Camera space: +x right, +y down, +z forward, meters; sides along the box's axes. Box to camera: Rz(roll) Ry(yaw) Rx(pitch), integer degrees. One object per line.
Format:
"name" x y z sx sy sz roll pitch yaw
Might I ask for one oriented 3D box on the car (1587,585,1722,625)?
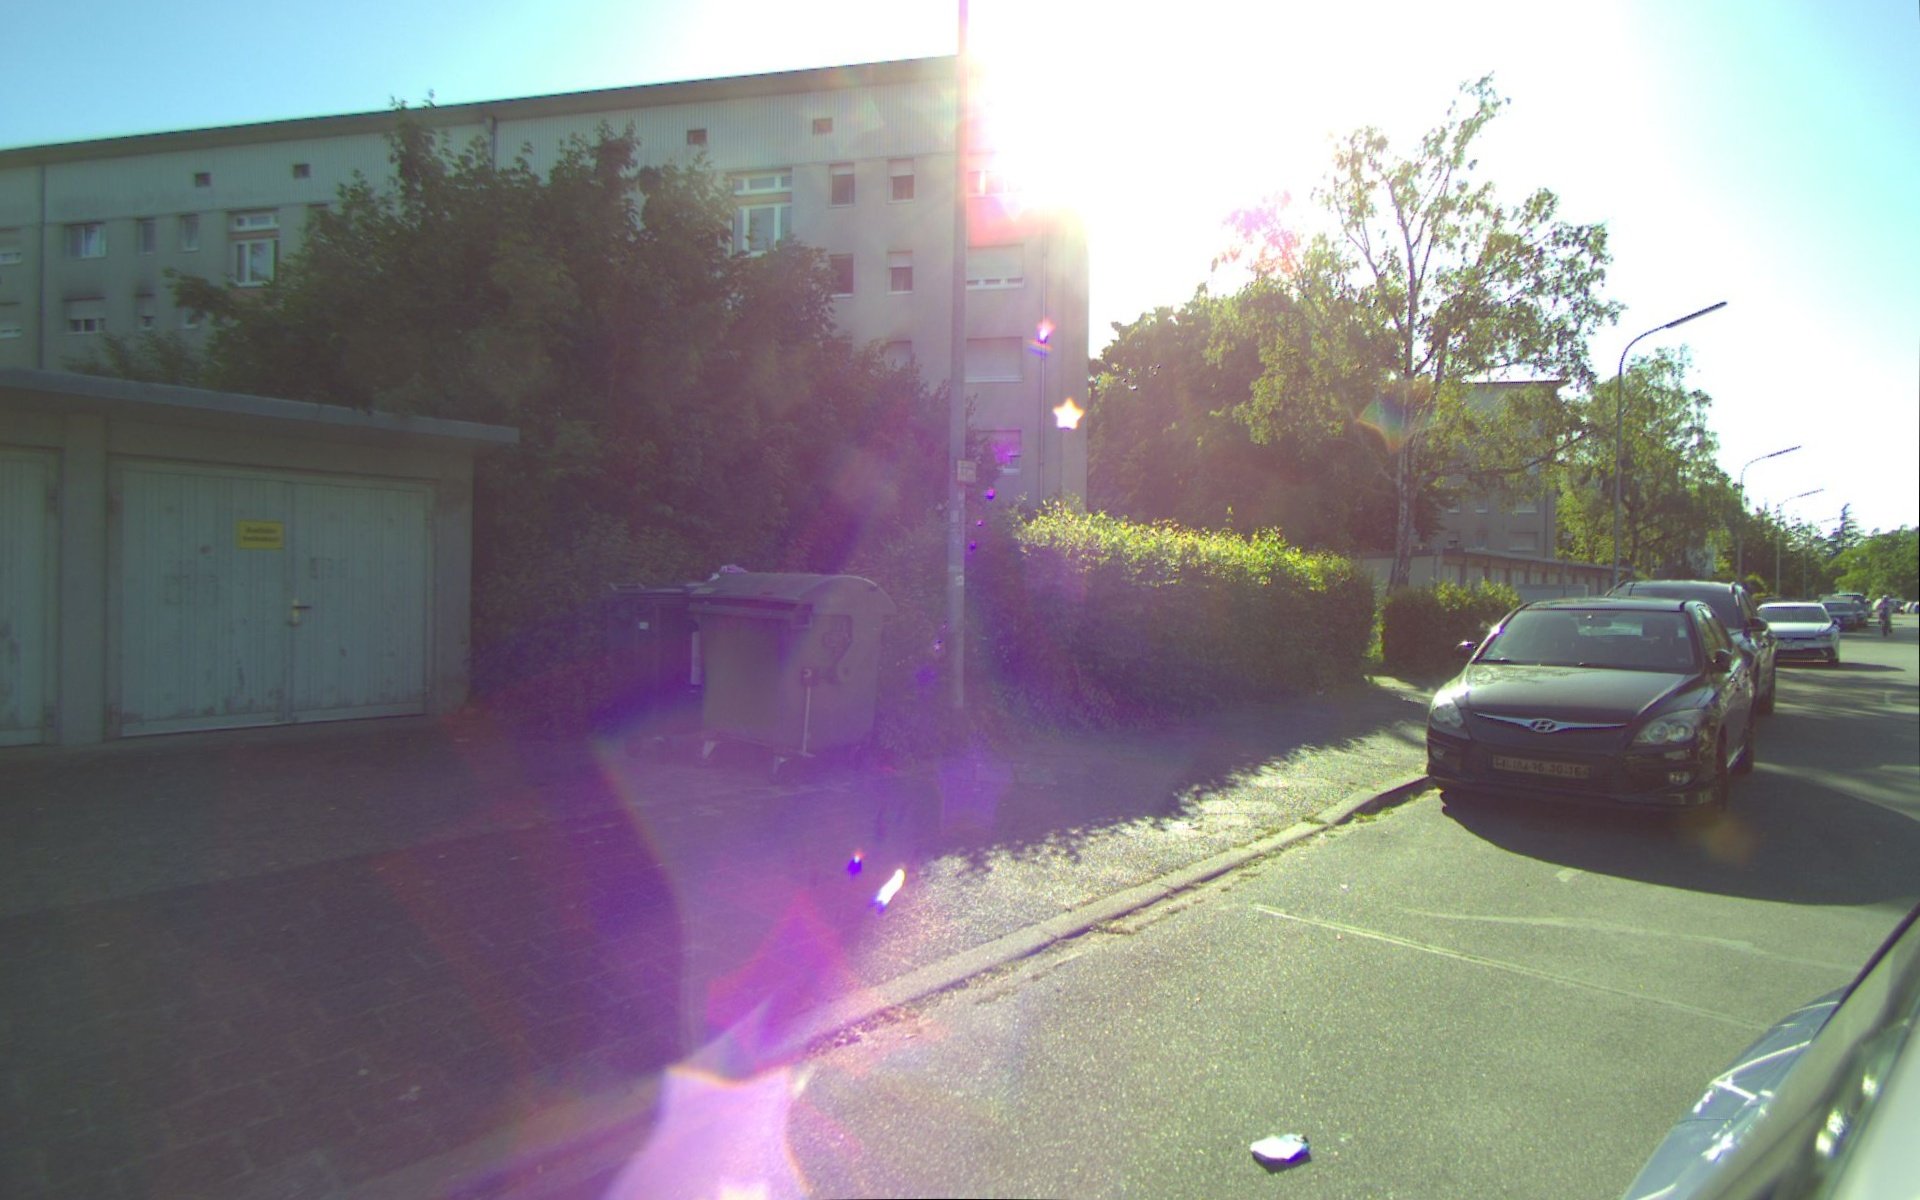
"car" 29.741 0.164 43.442 1.799 1.532 4.516 0 2 -45

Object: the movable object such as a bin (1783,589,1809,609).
"movable object such as a bin" 56.983 -0.073 68.992 1.361 1.326 1.030 0 4 -37

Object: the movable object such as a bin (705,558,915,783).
"movable object such as a bin" -1.080 0.445 7.373 0.917 1.472 1.213 1 1 43

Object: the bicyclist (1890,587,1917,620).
"bicyclist" 39.169 0.142 42.022 0.810 1.373 1.074 0 0 44

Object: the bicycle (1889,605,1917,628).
"bicycle" 39.198 0.683 42.058 0.822 0.912 2.168 0 1 44

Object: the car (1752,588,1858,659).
"car" 19.837 0.496 23.777 1.751 1.533 4.044 -1 0 40

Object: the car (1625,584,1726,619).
"car" 35.435 0.039 50.145 3.939 1.532 1.802 3 2 41

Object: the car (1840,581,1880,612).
"car" 58.781 -0.212 66.081 1.851 1.959 4.633 -1 0 42

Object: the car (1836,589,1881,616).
"car" 50.603 0.129 57.043 1.729 1.509 4.435 -1 0 40

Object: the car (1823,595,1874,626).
"car" 42.665 0.480 48.656 1.729 1.421 3.838 -1 0 40

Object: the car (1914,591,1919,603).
"car" 127.191 -0.404 133.246 1.649 1.497 3.688 3 2 35

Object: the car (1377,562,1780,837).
"car" 5.020 0.536 7.918 1.907 1.550 4.261 0 1 43

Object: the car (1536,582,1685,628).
"car" 24.295 0.144 37.878 4.416 1.532 1.800 3 2 44

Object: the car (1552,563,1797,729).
"car" 8.936 0.437 12.481 1.907 1.660 4.557 0 1 43

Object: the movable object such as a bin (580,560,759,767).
"movable object such as a bin" -2.256 0.438 7.876 0.917 1.472 1.010 1 1 43

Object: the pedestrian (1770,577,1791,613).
"pedestrian" 44.769 -0.289 55.221 0.703 1.911 0.858 4 3 44

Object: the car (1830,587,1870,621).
"car" 45.726 0.198 51.990 1.488 1.740 2.543 -1 0 42
